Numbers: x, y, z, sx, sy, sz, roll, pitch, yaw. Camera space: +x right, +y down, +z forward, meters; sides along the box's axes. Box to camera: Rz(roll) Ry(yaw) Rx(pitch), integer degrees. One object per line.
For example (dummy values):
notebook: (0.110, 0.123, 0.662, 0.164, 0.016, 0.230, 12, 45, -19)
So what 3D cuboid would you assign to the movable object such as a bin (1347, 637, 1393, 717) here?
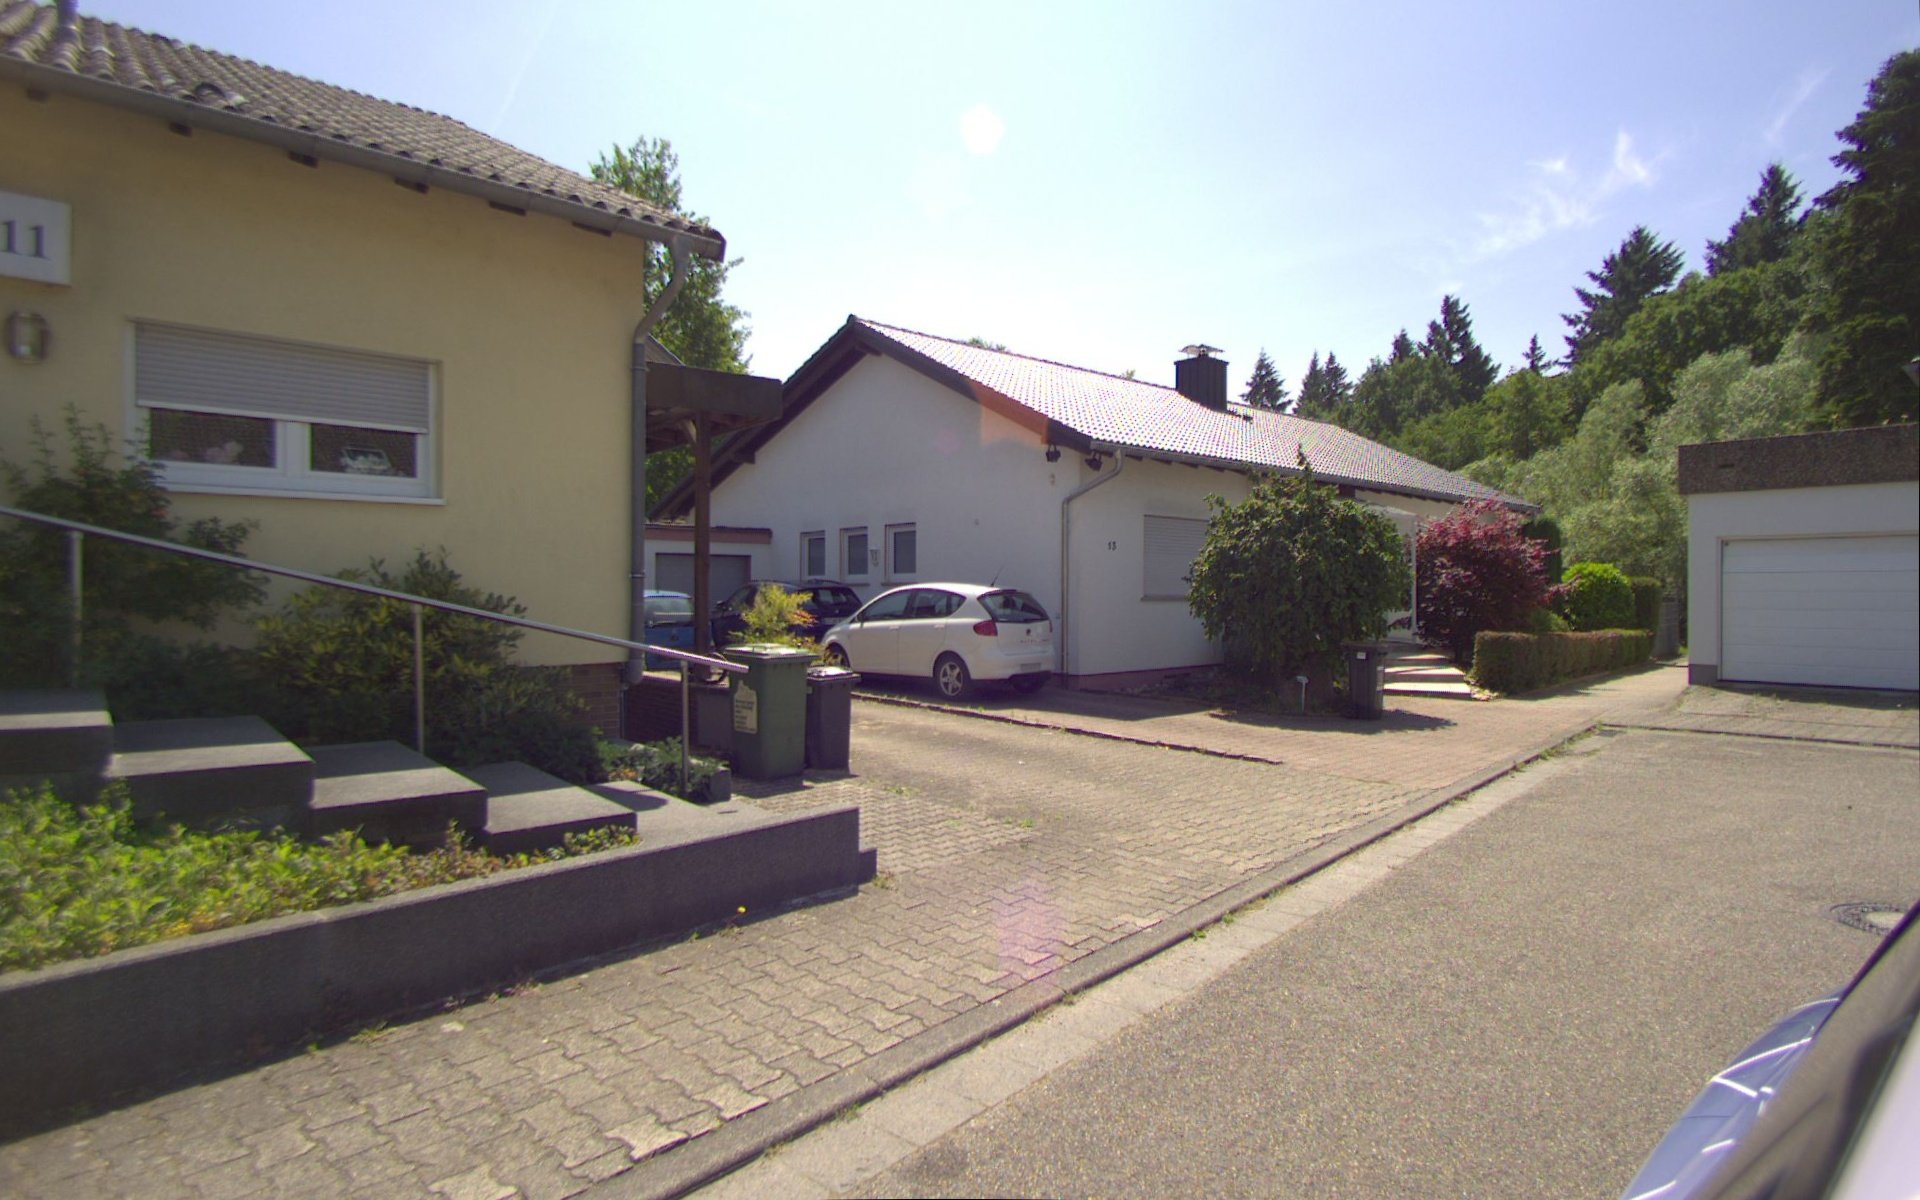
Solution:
movable object such as a bin: (4.911, 0.915, 12.116, 0.369, 0.902, 0.390, -1, 1, -42)

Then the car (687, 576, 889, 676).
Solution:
car: (-3.251, 0.370, 18.559, 1.895, 1.628, 3.994, -1, 2, -40)

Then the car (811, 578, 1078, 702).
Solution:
car: (-0.338, 0.483, 14.989, 1.723, 1.588, 3.990, 0, 1, -44)

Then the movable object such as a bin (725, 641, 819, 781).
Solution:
movable object such as a bin: (-1.548, 0.892, 8.356, 0.489, 1.054, 0.584, 0, 1, 41)

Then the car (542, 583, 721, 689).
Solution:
car: (-5.336, 0.498, 16.236, 1.591, 1.473, 3.249, 0, 1, -41)

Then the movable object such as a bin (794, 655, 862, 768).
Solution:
movable object such as a bin: (-1.136, 0.944, 8.715, 0.424, 0.902, 0.401, 0, 1, 42)
